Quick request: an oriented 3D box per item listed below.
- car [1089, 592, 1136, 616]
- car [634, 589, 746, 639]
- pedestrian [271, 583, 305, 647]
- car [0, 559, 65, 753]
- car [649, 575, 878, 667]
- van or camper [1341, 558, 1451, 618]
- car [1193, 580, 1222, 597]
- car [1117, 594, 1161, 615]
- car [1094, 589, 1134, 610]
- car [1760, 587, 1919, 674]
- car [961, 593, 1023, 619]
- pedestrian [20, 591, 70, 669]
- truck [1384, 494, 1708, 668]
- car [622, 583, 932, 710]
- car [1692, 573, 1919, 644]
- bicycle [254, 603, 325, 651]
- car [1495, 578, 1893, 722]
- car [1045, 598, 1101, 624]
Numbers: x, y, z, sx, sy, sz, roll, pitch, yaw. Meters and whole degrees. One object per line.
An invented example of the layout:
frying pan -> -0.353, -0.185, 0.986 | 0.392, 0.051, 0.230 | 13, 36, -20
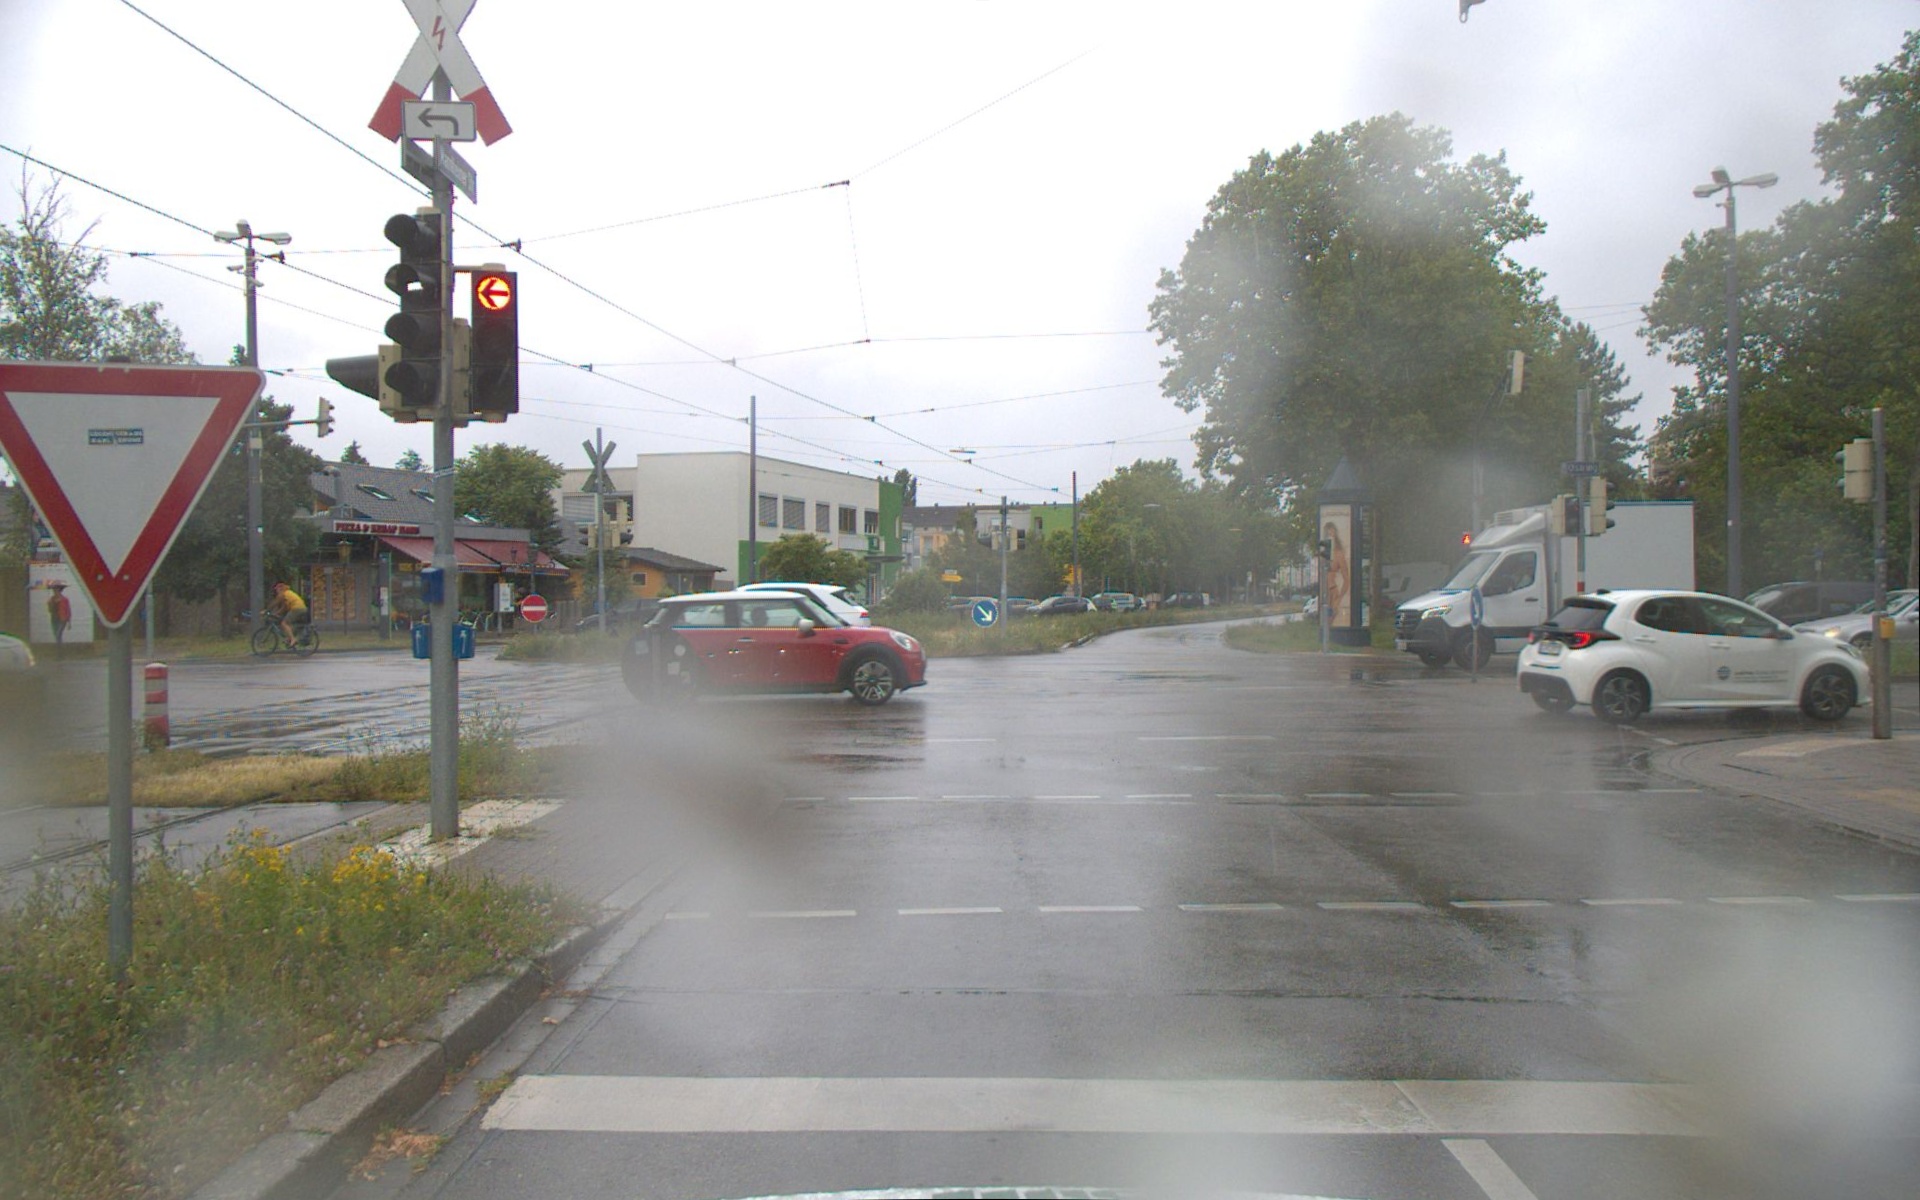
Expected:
car -> 13.444, 0.389, 145.597 | 4.047, 2.010, 1.674 | -1, 0, 5
car -> -10.654, 0.540, 65.414 | 4.047, 1.892, 1.674 | -1, 0, 5
pedestrian -> -16.092, 0.352, 39.625 | 0.563, 1.501, 0.500 | -1, 0, 7
car -> -11.201, 0.531, 15.988 | 4.132, 1.828, 1.649 | 0, 1, -9
car -> -3.879, 0.403, 32.799 | 4.376, 1.685, 1.649 | -1, 0, -8
van or camper -> 21.341, -0.601, 80.927 | 5.110, 2.744, 2.245 | 1, 1, 17
car -> 31.952, -1.504, 213.491 | 3.370, 2.049, 1.809 | -1, 0, 15
car -> 16.751, 0.392, 154.934 | 4.047, 1.892, 1.674 | -1, 0, 5
car -> 15.946, -0.042, 171.538 | 3.902, 2.049, 1.836 | -1, -1, 12
car -> 16.271, 0.499, 28.271 | 4.422, 1.414, 1.643 | 0, 0, -3
car -> 2.161, 0.393, 110.832 | 4.047, 1.699, 1.674 | -1, 0, 5
pedestrian -> -21.462, 0.706, 38.793 | 0.893, 1.794, 0.798 | -1, 0, 44
truck -> 10.875, -0.359, 30.886 | 5.362, 3.112, 1.979 | 0, 0, -5
car -> -2.371, 0.556, 21.434 | 3.835, 1.525, 1.649 | 0, 1, -9
car -> 18.222, 0.178, 35.660 | 4.117, 1.447, 1.764 | 0, 0, -3
bicycle -> -16.058, 0.653, 39.621 | 1.528, 1.121, 0.500 | -1, 0, 7
car -> 8.540, 0.551, 19.399 | 3.988, 1.525, 1.649 | -1, 0, -7
car -> 8.724, 0.819, 127.616 | 4.055, 1.892, 1.671 | -1, 0, -6
